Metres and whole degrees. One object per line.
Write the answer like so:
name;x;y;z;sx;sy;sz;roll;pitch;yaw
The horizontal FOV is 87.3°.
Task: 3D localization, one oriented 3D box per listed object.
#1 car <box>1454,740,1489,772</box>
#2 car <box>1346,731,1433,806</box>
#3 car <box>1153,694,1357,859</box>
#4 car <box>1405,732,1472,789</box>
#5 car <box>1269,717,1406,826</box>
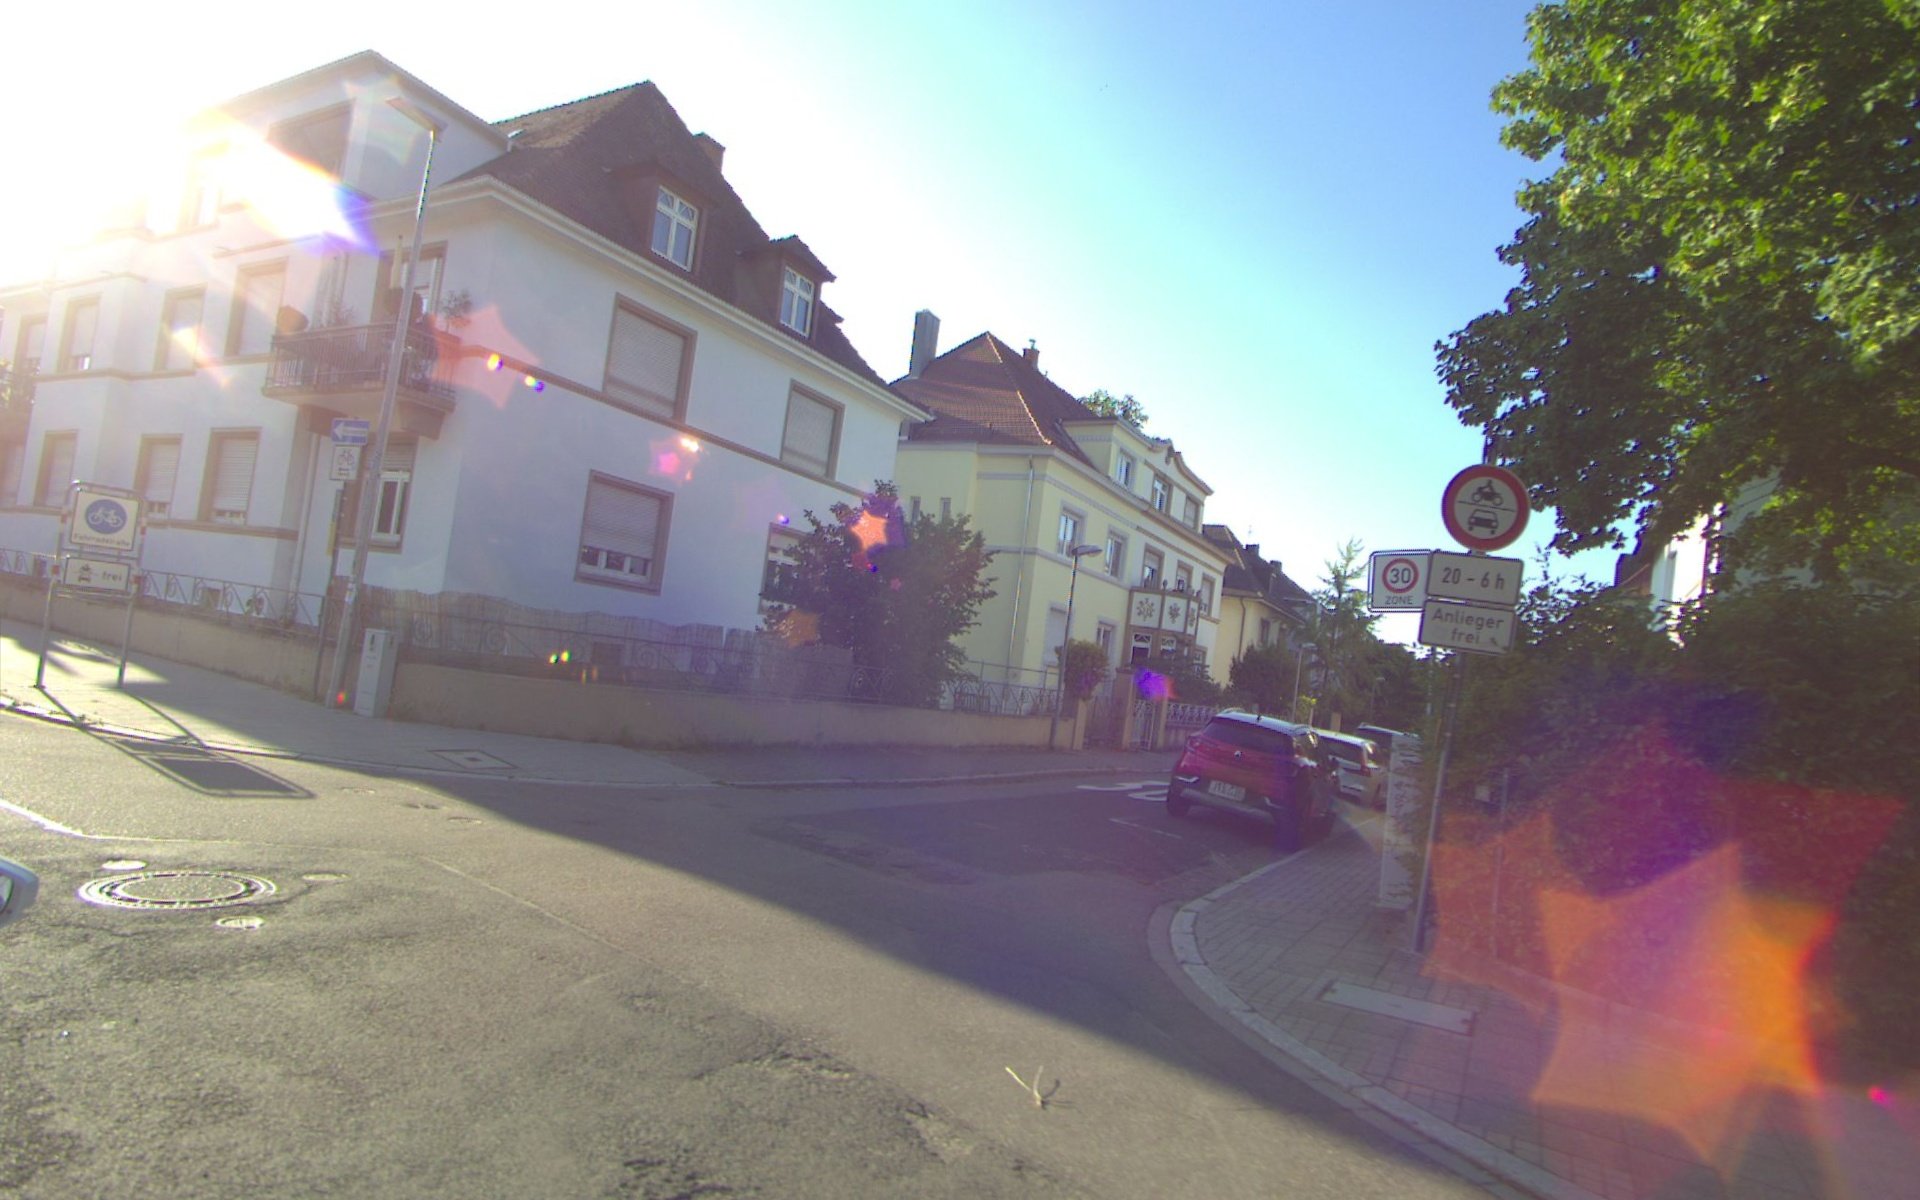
car;31.565;9.603;62.054;1.750;1.641;4.262;6;-5;28
car;11.123;4.277;25.874;1.751;1.640;4.262;0;-7;27
car;4.314;2.424;14.274;1.815;1.626;3.858;11;-2;28
car;17.133;5.707;35.927;1.750;1.641;4.260;7;-4;30
car;7.646;3.358;20.112;1.839;1.541;4.262;11;-2;28
